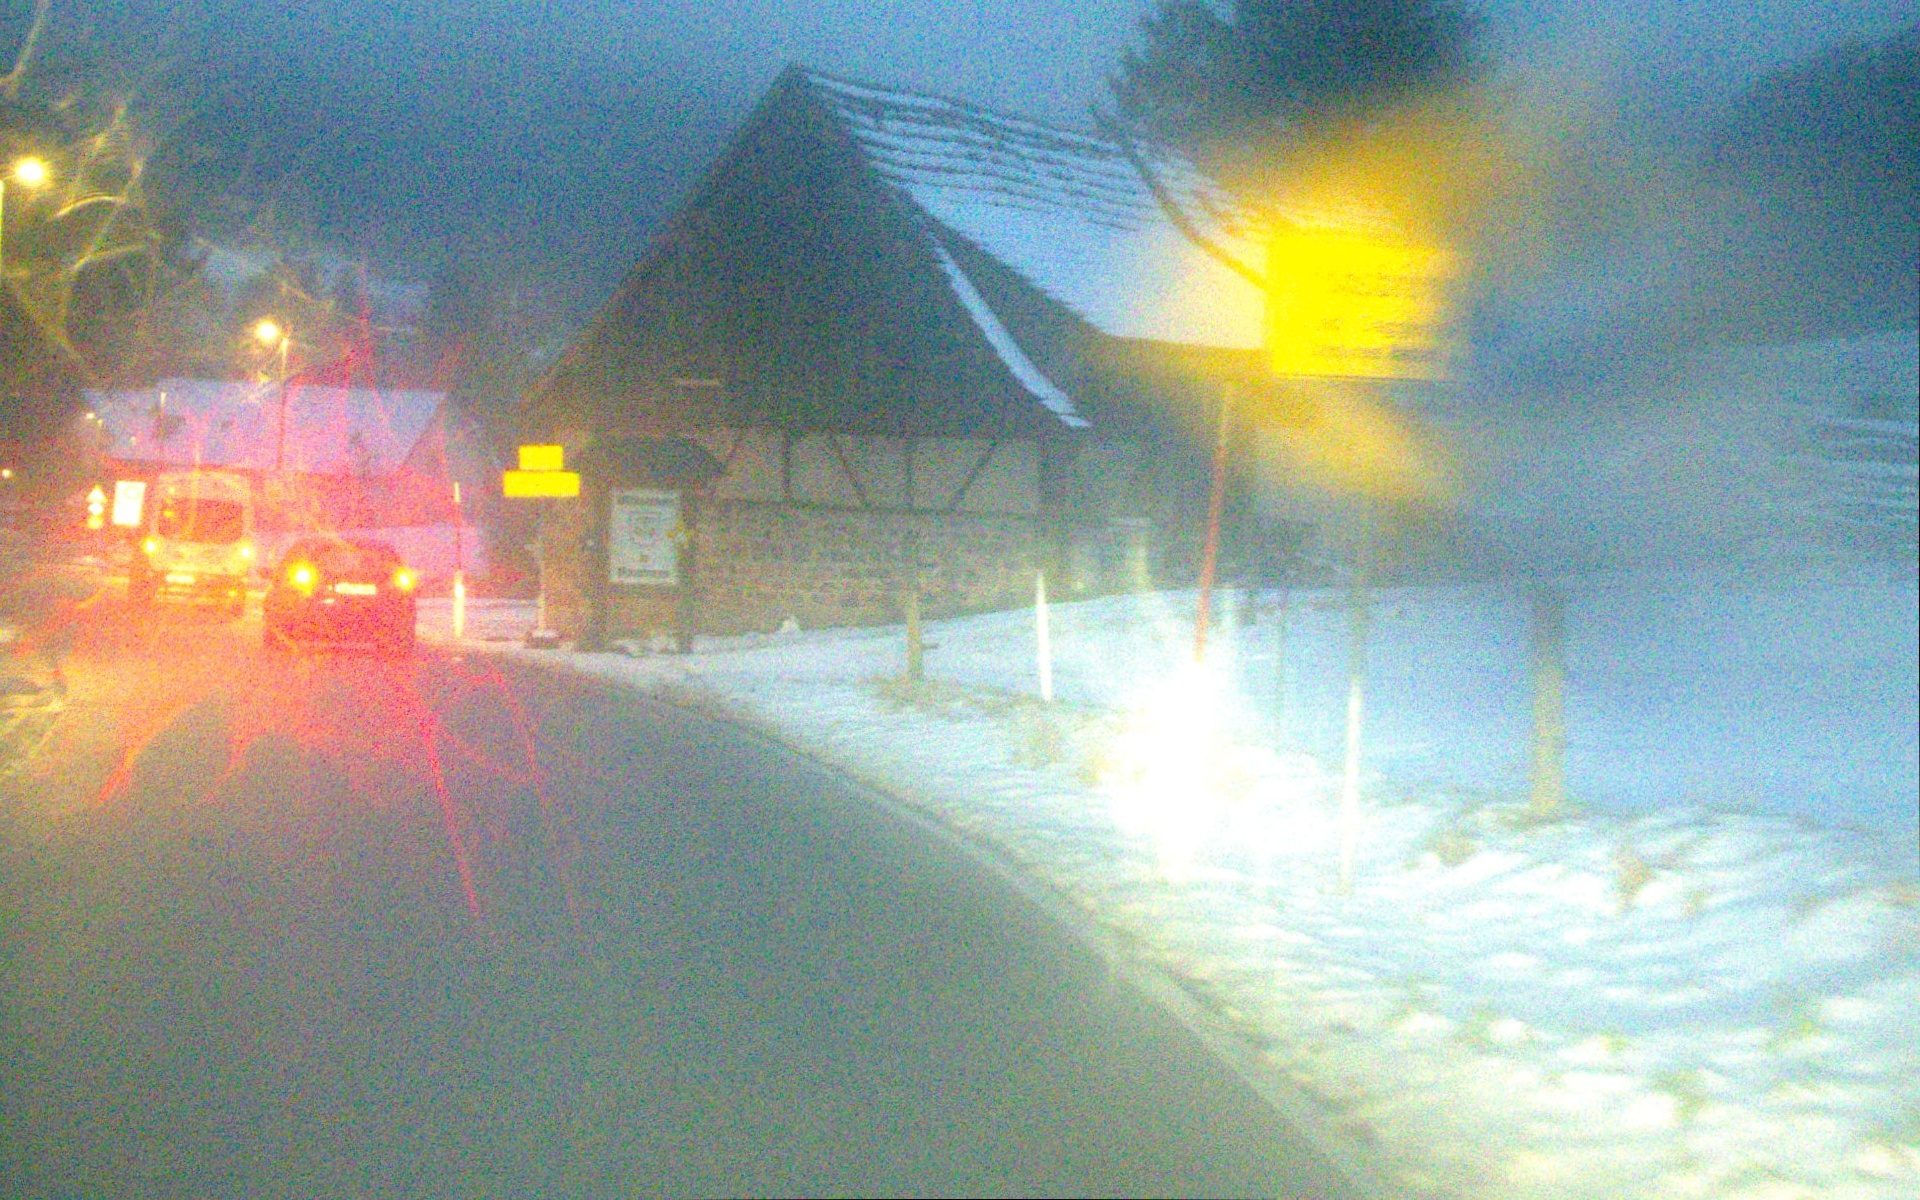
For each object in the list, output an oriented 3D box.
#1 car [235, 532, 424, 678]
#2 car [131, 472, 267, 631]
[{"bbox_3d":[-8.516,0.008,46.101,2.273,1.834,5.008,0,1,-13],"label":"car"},{"bbox_3d":[-15.045,-0.903,68.206,2.434,3.008,5.326,0,0,-11],"label":"car"}]
